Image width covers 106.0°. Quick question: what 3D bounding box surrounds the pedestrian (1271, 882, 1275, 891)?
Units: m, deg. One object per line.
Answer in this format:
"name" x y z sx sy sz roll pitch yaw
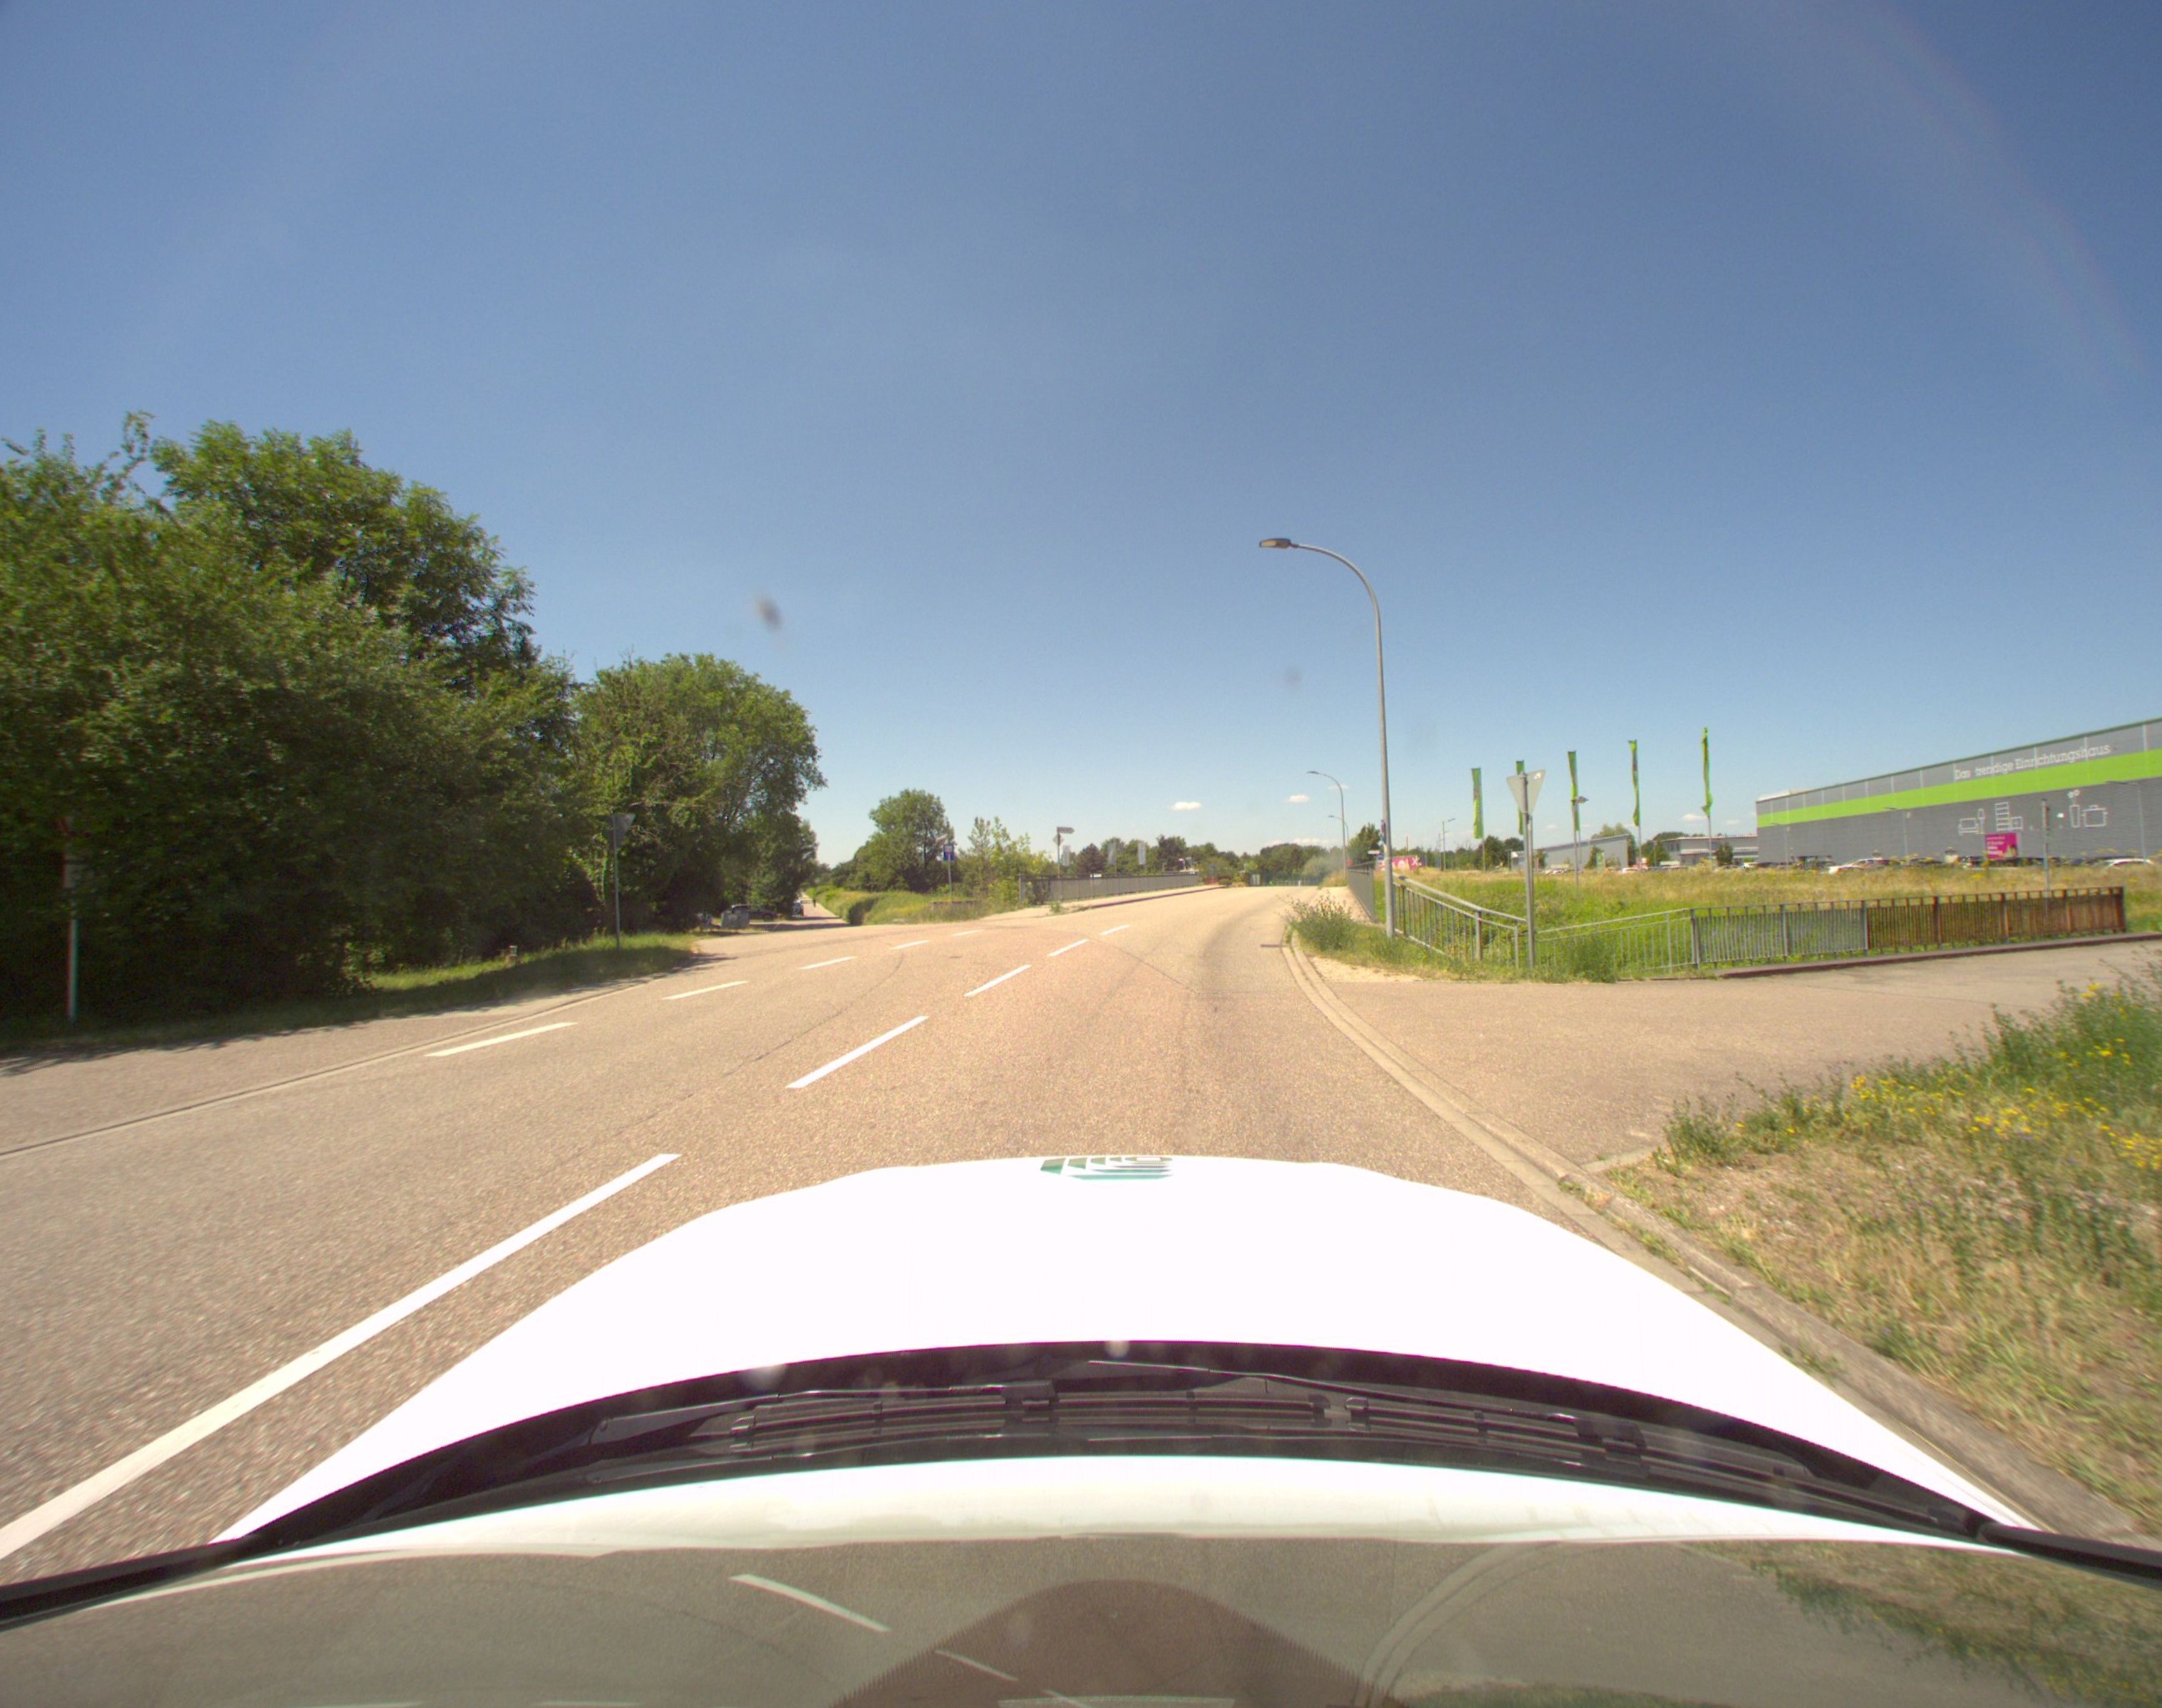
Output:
"pedestrian" 40.143 6.732 170.581 0.600 1.839 0.809 -4 -4 25

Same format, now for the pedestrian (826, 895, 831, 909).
"pedestrian" -38.698 7.369 124.889 0.615 2.014 0.620 -2 -2 -25

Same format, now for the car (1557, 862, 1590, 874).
"car" 67.787 1.881 112.166 3.702 1.570 1.901 -2 -2 24

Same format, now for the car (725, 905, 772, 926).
"car" -31.023 5.738 76.083 4.003 1.571 1.985 -3 -1 -22

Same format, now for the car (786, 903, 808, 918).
"car" -33.003 6.579 94.661 2.003 1.596 3.966 -2 -2 -25
